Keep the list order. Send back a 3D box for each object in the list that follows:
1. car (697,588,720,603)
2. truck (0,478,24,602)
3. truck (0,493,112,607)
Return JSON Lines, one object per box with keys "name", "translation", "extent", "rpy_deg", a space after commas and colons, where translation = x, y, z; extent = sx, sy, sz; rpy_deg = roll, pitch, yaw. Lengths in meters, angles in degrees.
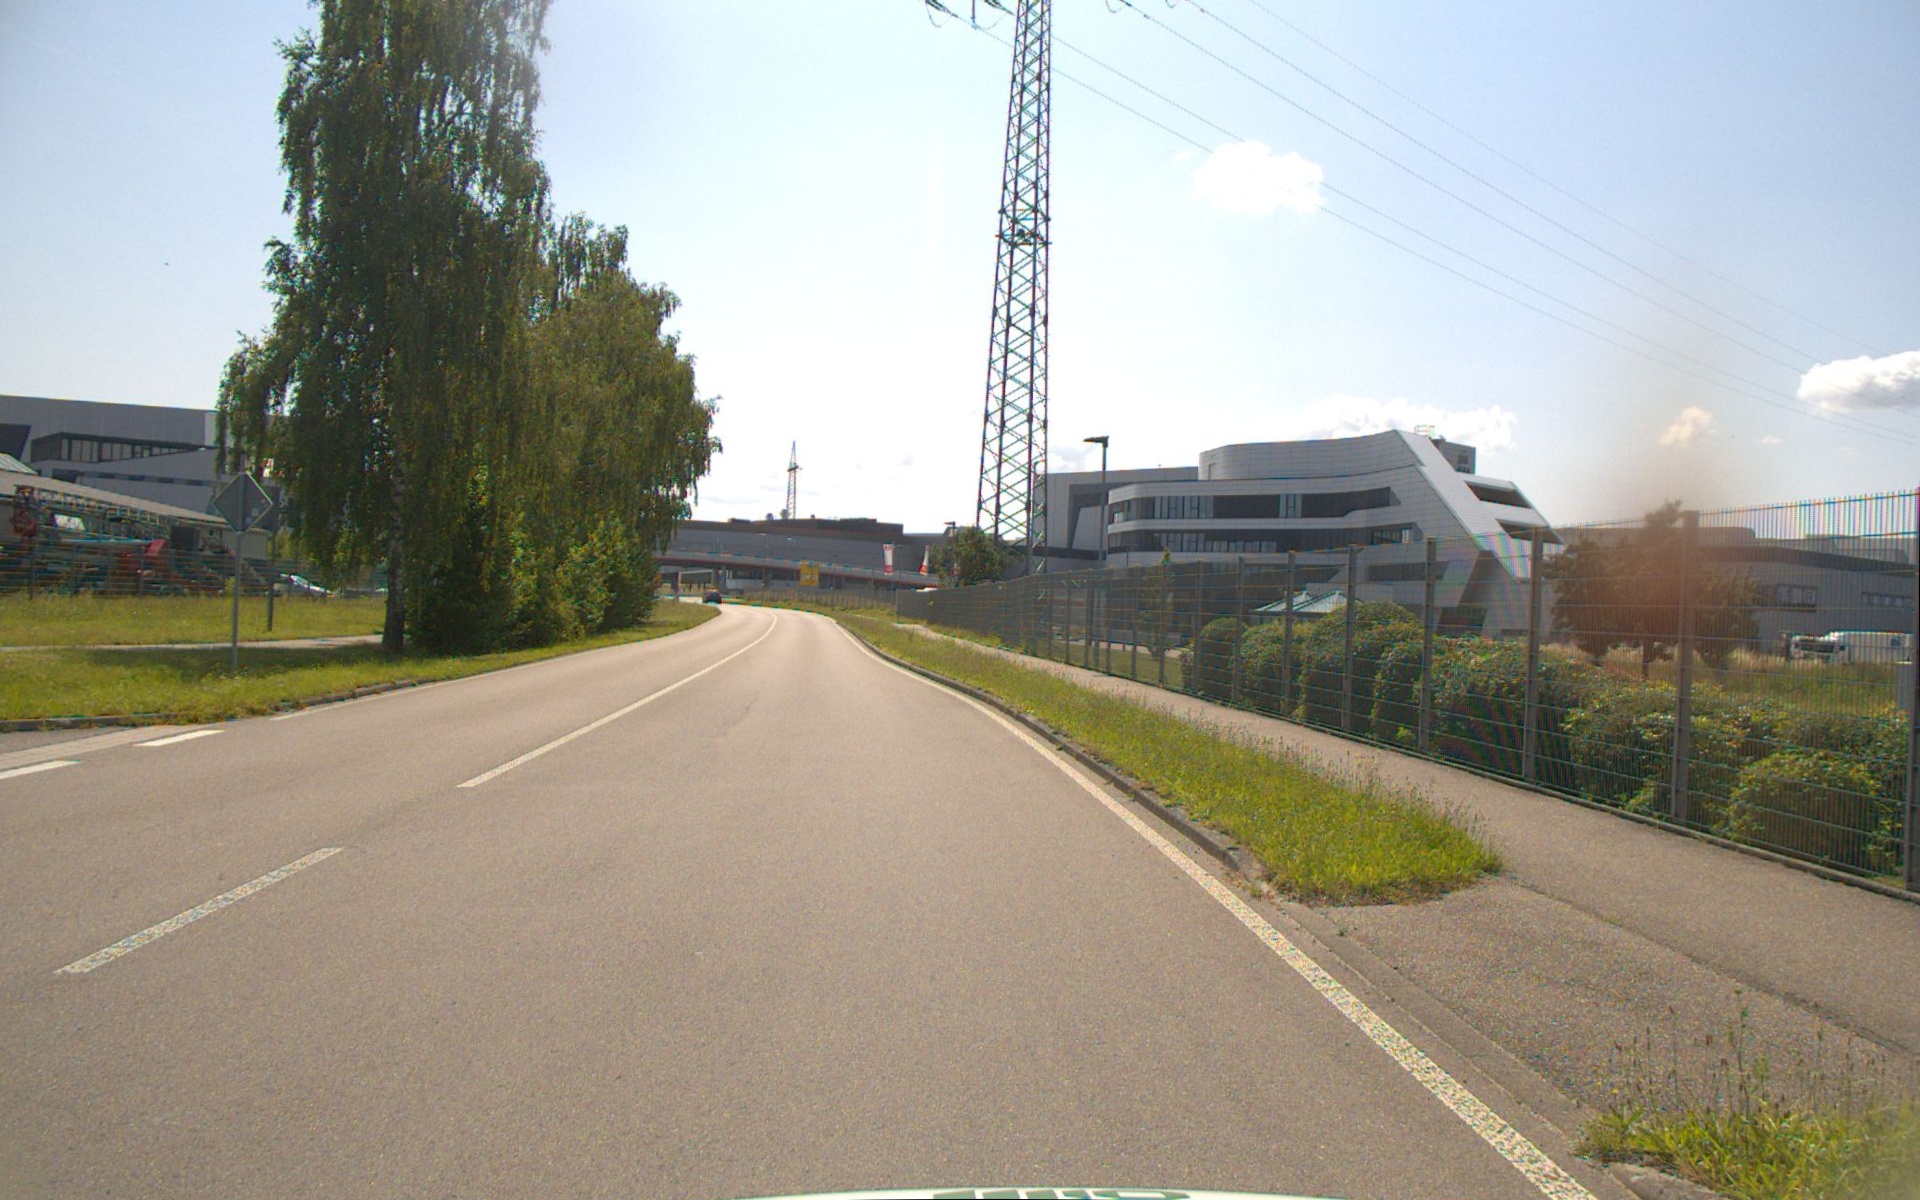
{"name": "car", "translation": [-28.180, -0.560, 185.560], "extent": [1.980, 1.534, 3.983], "rpy_deg": [3, 0, -16]}
{"name": "truck", "translation": [-29.062, -1.803, 44.260], "extent": [2.699, 3.620, 10.258], "rpy_deg": [3, 0, -4]}
{"name": "truck", "translation": [-30.370, -1.606, 54.329], "extent": [2.387, 3.512, 5.437], "rpy_deg": [3, 0, -4]}
